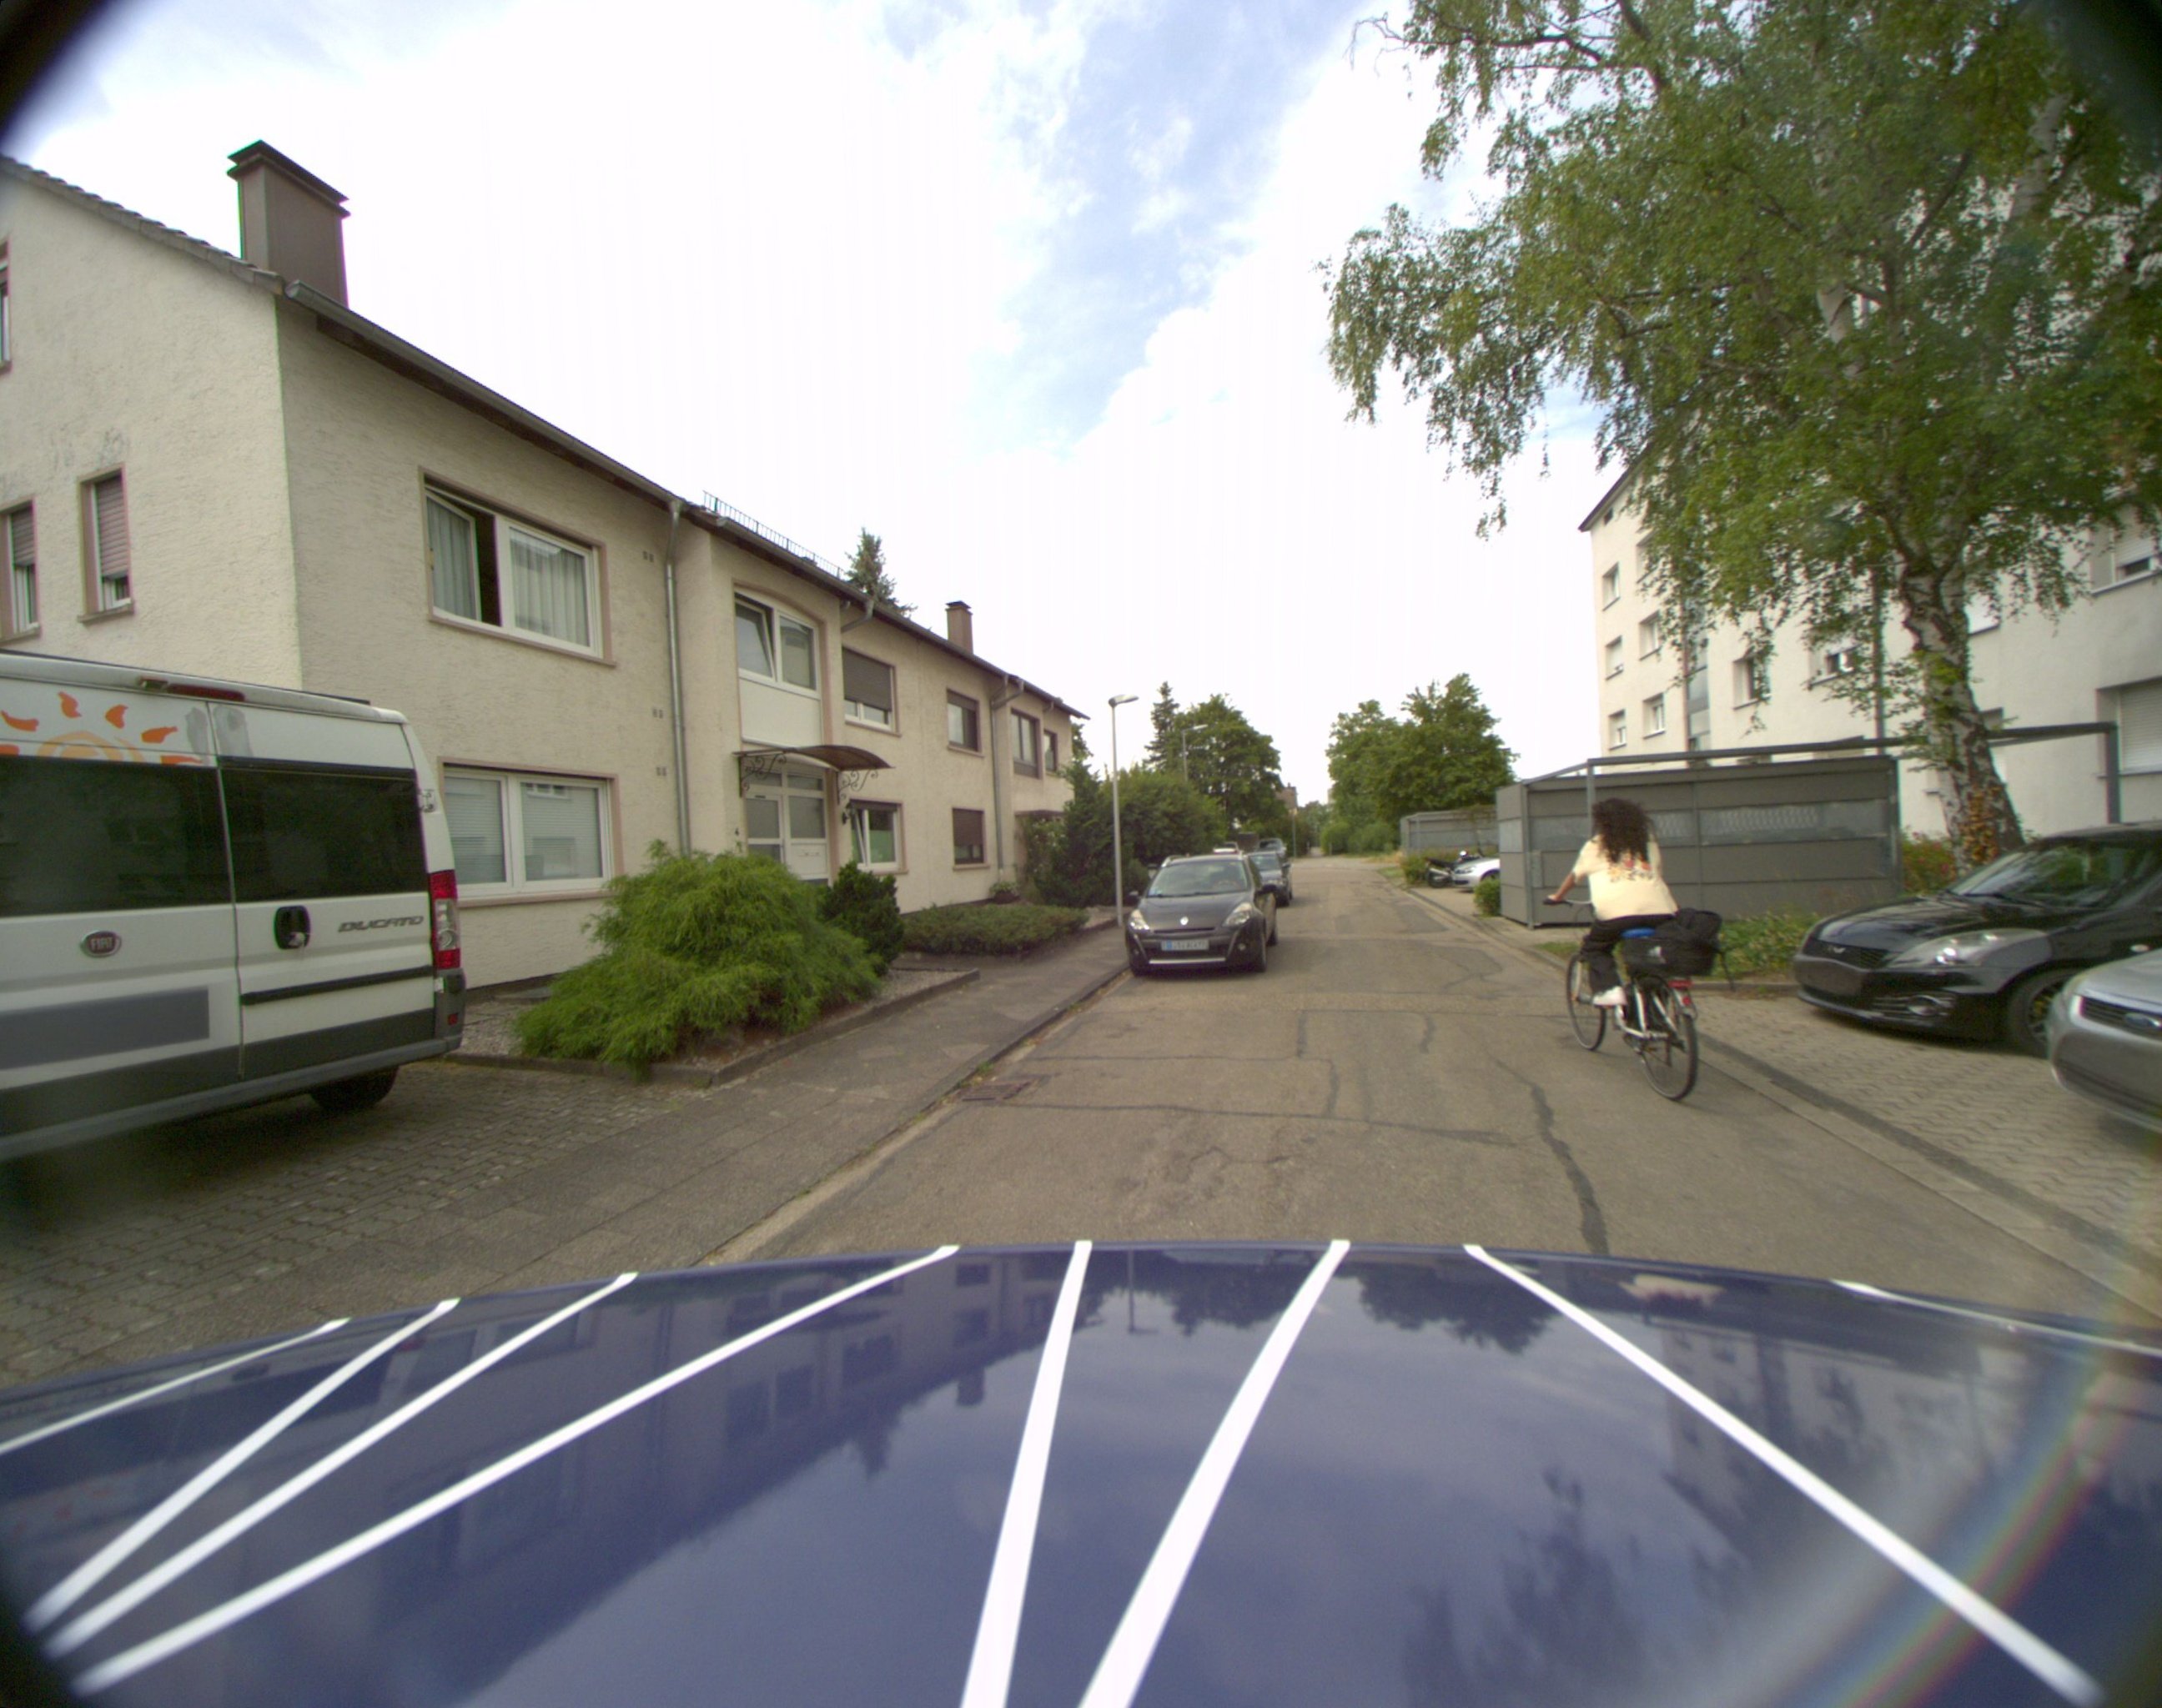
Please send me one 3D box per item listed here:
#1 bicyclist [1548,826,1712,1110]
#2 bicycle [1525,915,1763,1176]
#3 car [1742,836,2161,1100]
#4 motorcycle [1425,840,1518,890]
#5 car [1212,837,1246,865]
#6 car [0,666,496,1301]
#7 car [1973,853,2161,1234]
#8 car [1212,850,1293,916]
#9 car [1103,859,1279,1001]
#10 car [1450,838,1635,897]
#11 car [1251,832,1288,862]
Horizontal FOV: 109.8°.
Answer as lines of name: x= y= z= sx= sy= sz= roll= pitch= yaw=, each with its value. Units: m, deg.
bicyclist: x=3.307 y=0.630 z=4.644 sx=0.598 sy=1.572 sz=0.768 roll=-1 pitch=1 yaw=19
bicycle: x=3.353 y=1.018 z=4.748 sx=0.598 sy=1.070 sz=2.045 roll=-1 pitch=1 yaw=19
car: x=7.362 y=0.650 z=5.070 sx=4.056 sy=1.496 sz=1.784 roll=-2 pitch=1 yaw=17
motorcycle: x=11.587 y=0.333 z=22.618 sx=2.380 sy=1.456 sz=0.715 roll=-1 pitch=2 yaw=17
car: x=9.097 y=-0.192 z=46.453 sx=1.703 sy=1.458 sz=4.003 roll=-3 pitch=2 yaw=15
car: x=-6.507 y=0.565 z=4.505 sx=5.094 sy=2.527 sz=2.240 roll=-2 pitch=1 yaw=18
car: x=6.282 y=0.717 z=2.467 sx=4.056 sy=1.496 sz=1.784 roll=-2 pitch=1 yaw=17
car: x=4.701 y=0.706 z=20.401 sx=1.832 sy=1.449 sz=4.194 roll=-4 pitch=0 yaw=16
car: x=1.753 y=0.899 z=10.648 sx=1.832 sy=1.449 sz=4.194 roll=-4 pitch=0 yaw=16
car: x=12.364 y=0.339 z=20.662 sx=3.991 sy=1.477 sz=1.905 roll=-1 pitch=1 yaw=19
car: x=11.239 y=-0.432 z=45.068 sx=1.924 sy=1.575 sz=4.004 roll=-5 pitch=0 yaw=15
